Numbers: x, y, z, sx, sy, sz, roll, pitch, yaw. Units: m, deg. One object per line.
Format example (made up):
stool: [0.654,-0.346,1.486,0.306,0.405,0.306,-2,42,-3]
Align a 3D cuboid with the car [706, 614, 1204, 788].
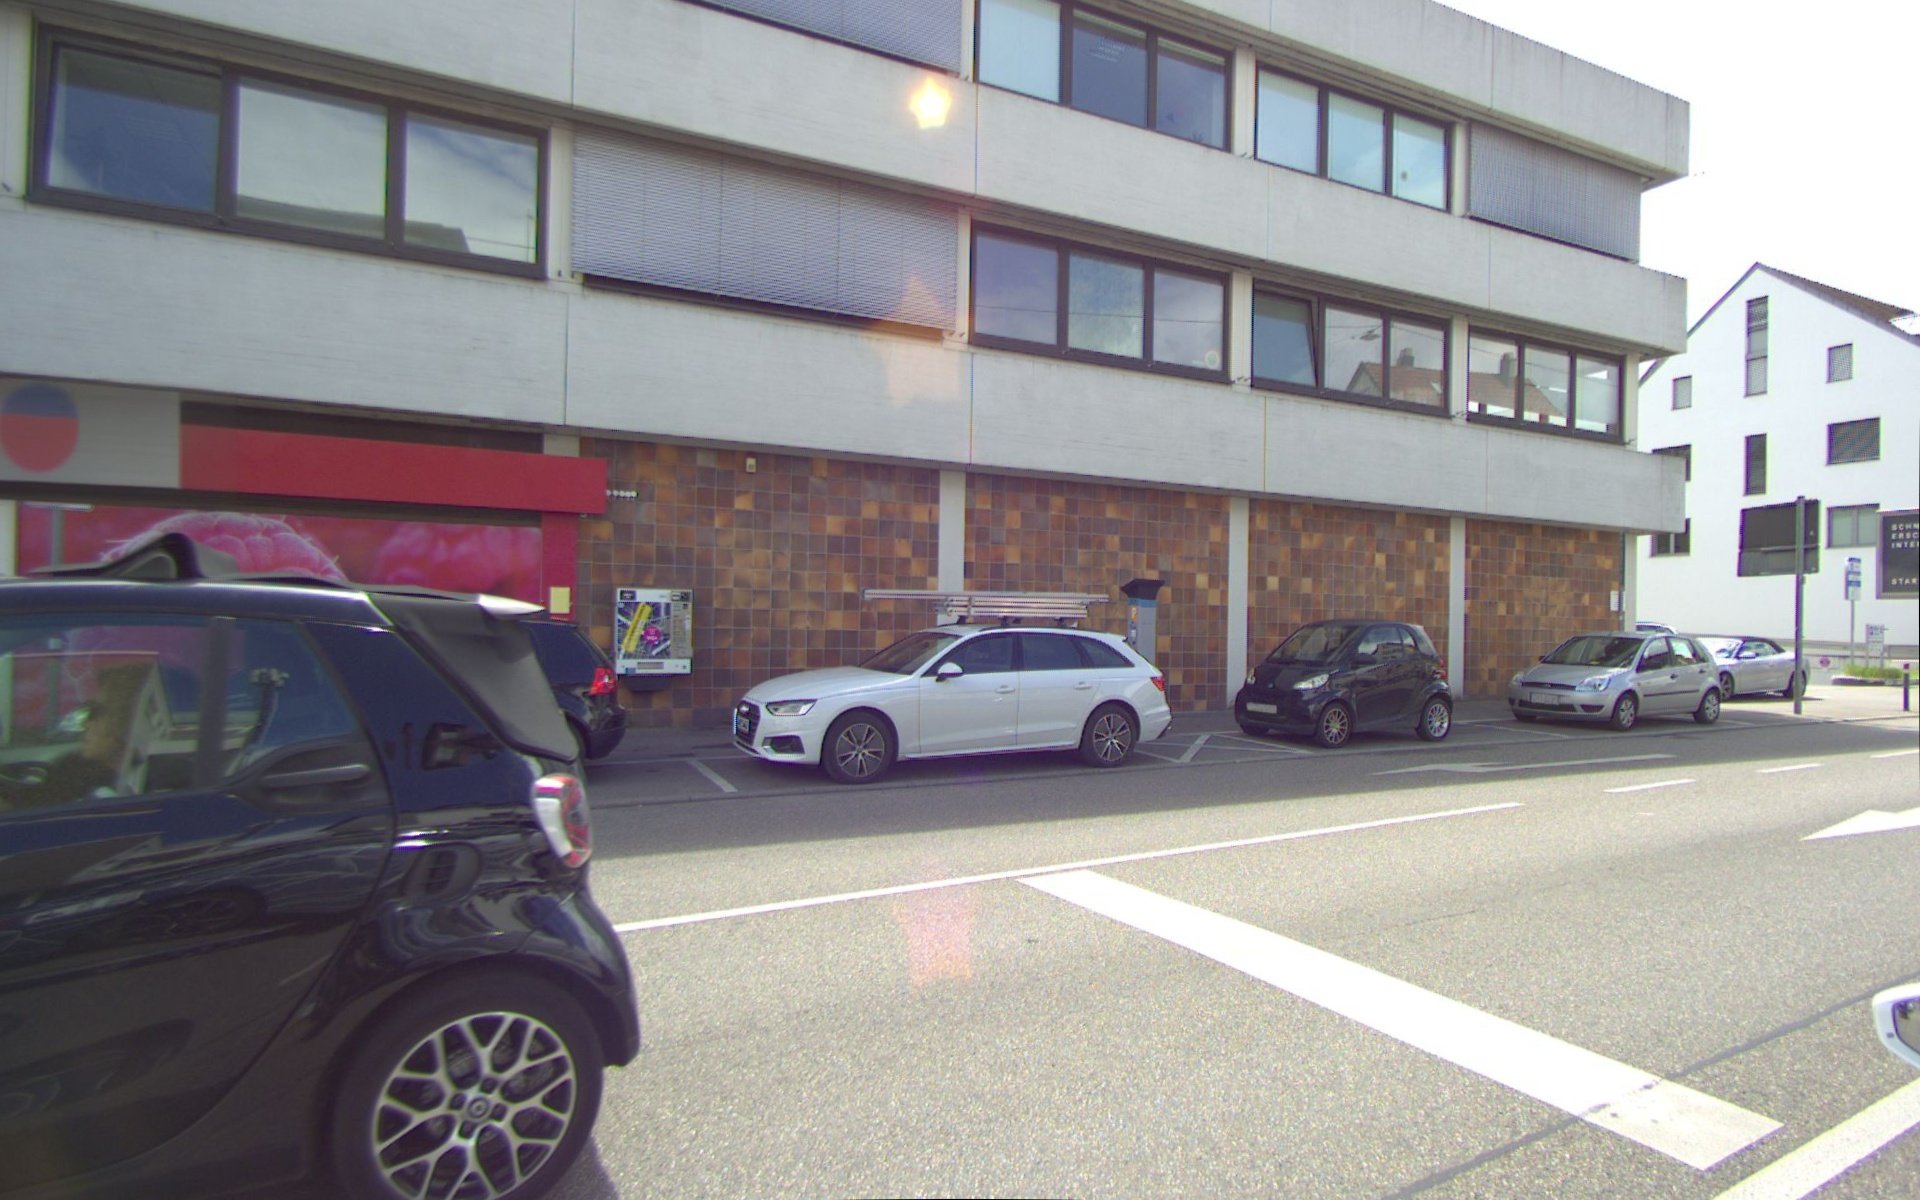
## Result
car: [-0.004,0.925,10.631,4.887,1.463,2.037,1,0,-27]

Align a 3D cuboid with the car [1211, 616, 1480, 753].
car: [5.062,1.024,13.233,3.016,1.576,1.730,1,0,-27]

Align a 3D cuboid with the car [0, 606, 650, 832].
car: [-5.043,0.841,8.648,4.232,1.495,2.036,1,0,-28]

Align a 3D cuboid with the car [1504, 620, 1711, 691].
car: [16.179,1.364,25.093,4.859,1.640,1.947,1,-4,-24]

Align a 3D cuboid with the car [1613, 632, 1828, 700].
car: [17.173,1.432,22.652,4.791,1.376,1.945,1,-1,-26]

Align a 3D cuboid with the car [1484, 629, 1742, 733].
car: [10.565,1.228,16.221,4.095,1.441,1.715,1,0,-28]

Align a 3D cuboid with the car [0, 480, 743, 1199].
car: [-2.185,0.625,2.571,2.802,1.657,1.668,1,-2,-32]
